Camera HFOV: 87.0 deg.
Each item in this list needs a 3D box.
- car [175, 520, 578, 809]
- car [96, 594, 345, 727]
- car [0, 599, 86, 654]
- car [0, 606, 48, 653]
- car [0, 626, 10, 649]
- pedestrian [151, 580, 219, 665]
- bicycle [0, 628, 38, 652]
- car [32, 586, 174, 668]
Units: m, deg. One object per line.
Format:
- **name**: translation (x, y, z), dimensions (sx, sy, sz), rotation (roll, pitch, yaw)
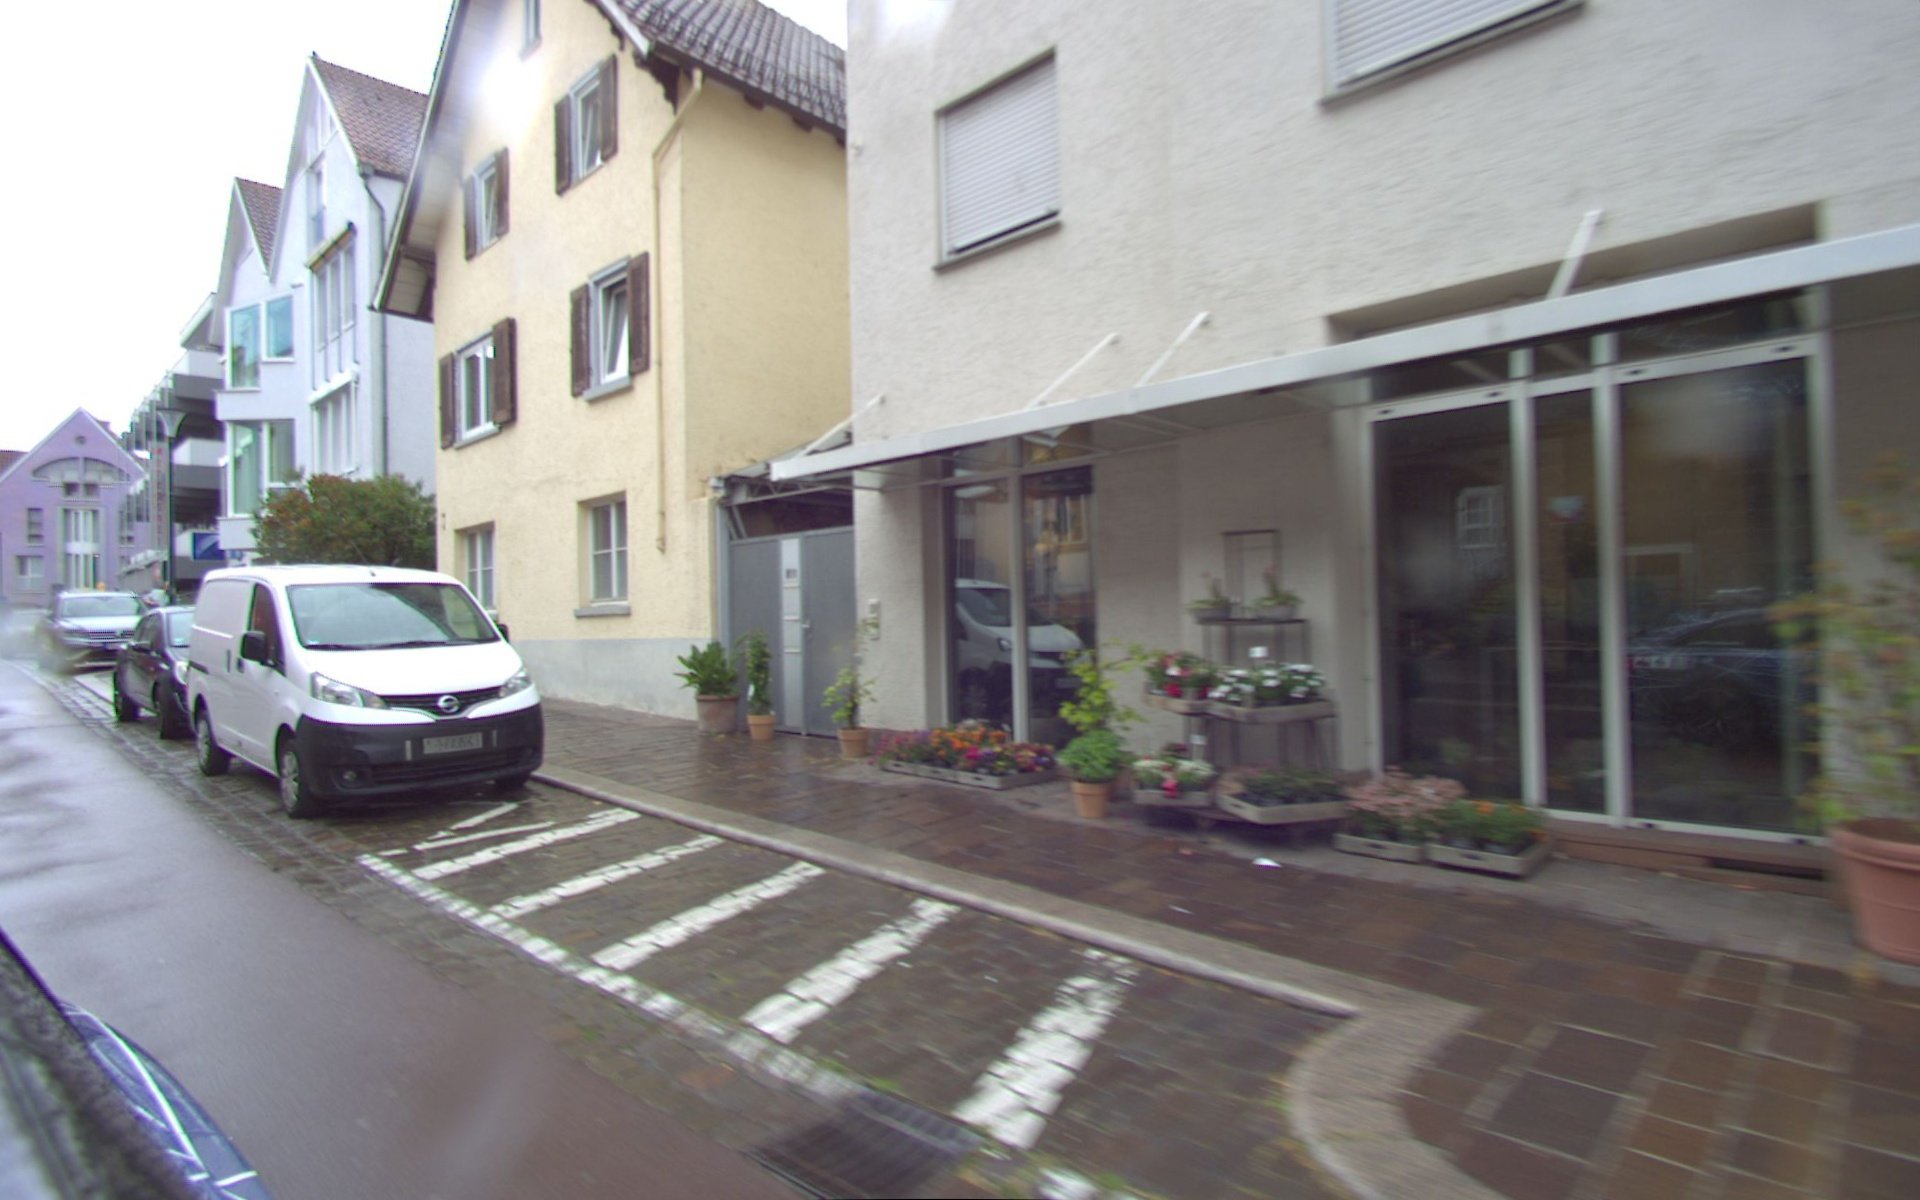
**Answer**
- **car**: translation (-5.117, 0.407, 8.575), dimensions (4.428, 1.839, 1.705), rotation (0, 0, 42)
- **car**: translation (-9.210, 0.631, 12.500), dimensions (3.823, 1.399, 1.663), rotation (0, 0, 41)
- **car**: translation (-27.571, 0.817, 30.285), dimensions (1.809, 1.510, 4.766), rotation (1, -2, -45)
- **car**: translation (-33.791, 1.072, 35.957), dimensions (4.001, 1.562, 1.772), rotation (-2, 0, 44)
- **car**: translation (-69.507, 2.653, 71.098), dimensions (3.935, 1.595, 1.836), rotation (0, 0, -39)
- **pedestrian**: translation (-17.224, 0.481, 22.482), dimensions (1.116, 1.820, 1.023), rotation (-2, -1, 44)
- **bicycle**: translation (-48.055, 2.035, 51.429), dimensions (0.441, 1.173, 1.737), rotation (0, 0, 24)
- **car**: translation (-18.412, 0.512, 21.673), dimensions (4.407, 1.580, 1.761), rotation (0, 0, 42)
